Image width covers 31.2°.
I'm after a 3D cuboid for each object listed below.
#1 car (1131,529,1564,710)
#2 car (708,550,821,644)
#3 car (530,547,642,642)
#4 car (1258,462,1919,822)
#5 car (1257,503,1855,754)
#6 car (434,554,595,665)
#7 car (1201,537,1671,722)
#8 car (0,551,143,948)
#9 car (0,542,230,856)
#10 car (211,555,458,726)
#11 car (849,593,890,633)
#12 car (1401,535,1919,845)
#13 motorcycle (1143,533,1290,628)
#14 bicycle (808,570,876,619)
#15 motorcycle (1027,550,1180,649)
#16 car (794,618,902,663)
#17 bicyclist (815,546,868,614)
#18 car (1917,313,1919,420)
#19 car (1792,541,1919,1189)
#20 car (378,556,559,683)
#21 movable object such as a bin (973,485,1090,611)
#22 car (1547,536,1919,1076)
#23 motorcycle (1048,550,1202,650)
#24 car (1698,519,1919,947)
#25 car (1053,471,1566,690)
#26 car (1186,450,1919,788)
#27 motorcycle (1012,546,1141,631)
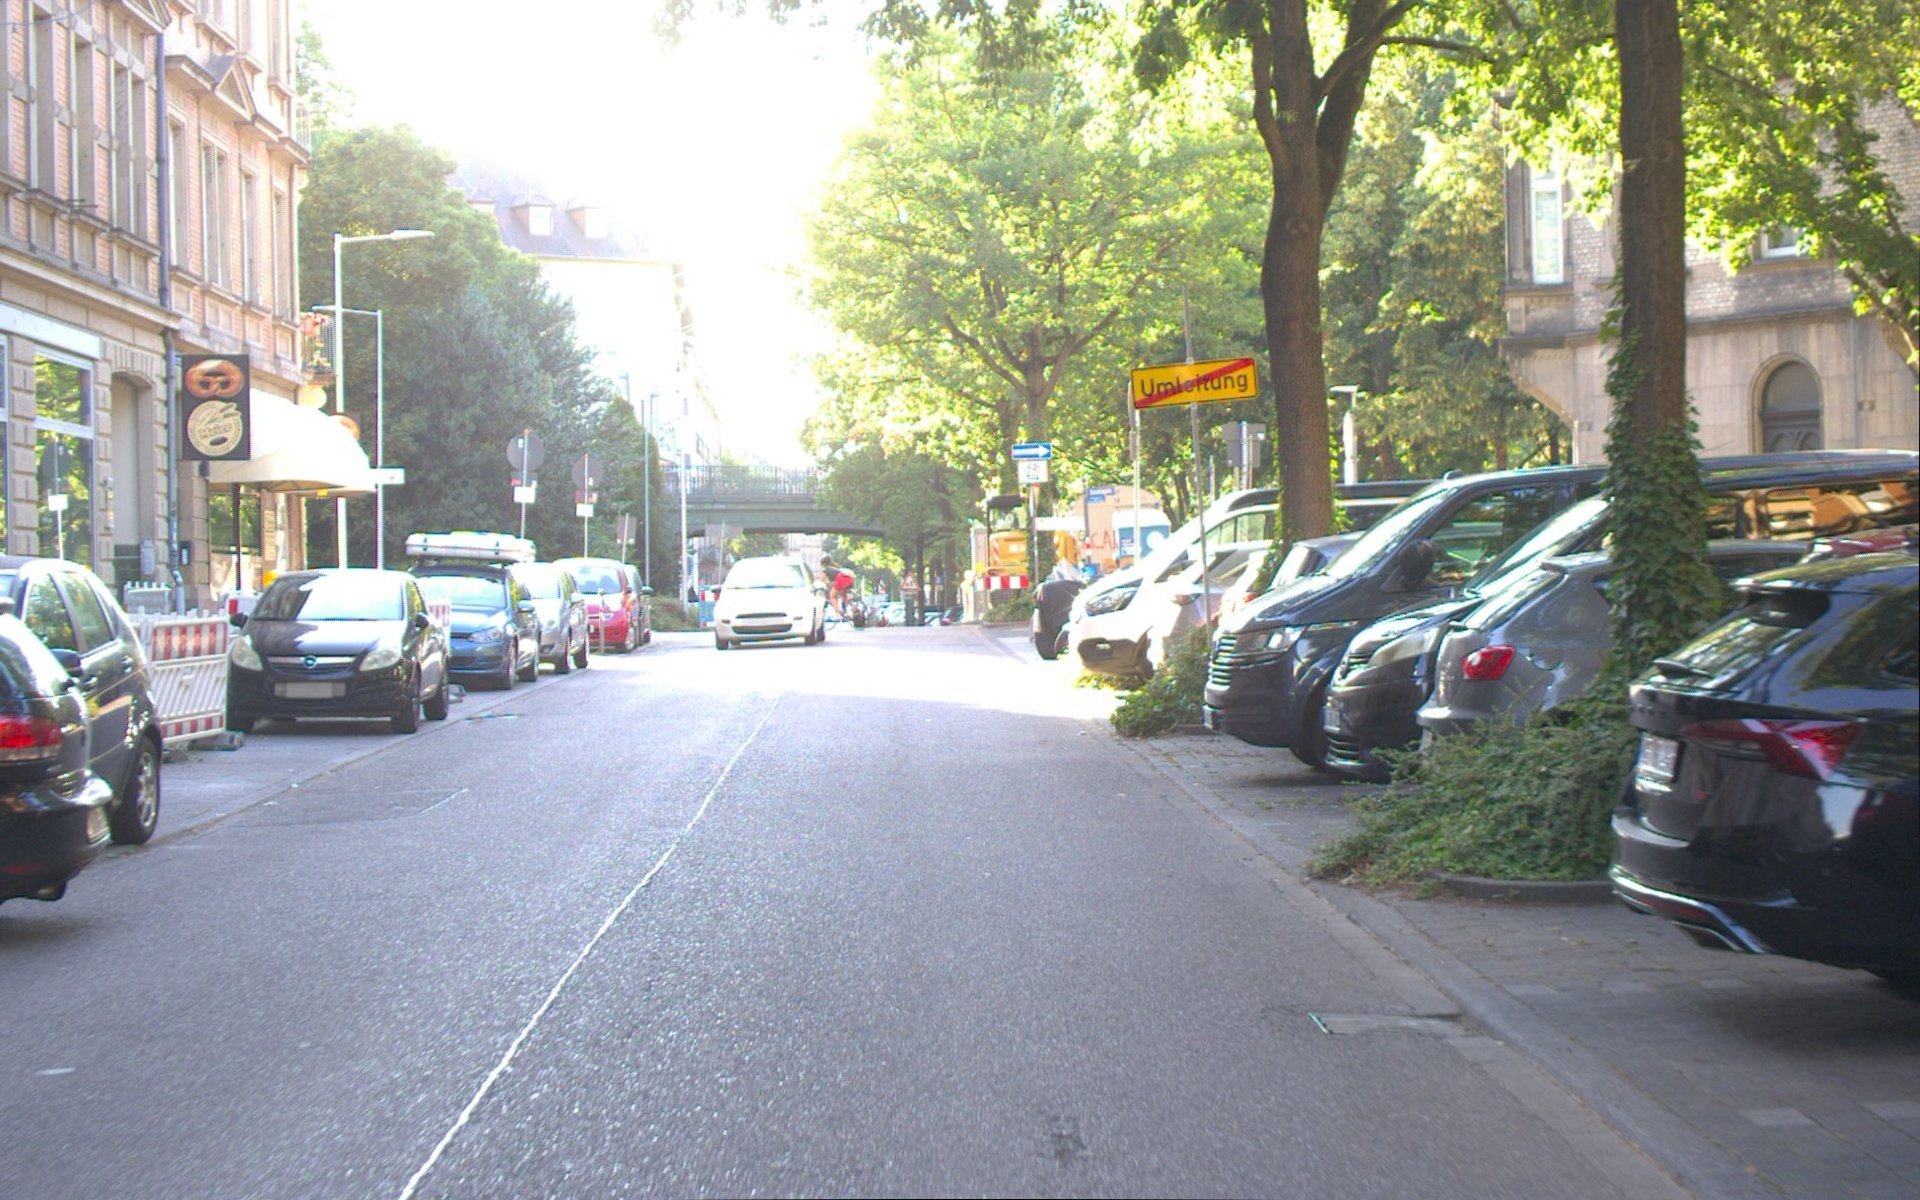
[{"bbox_3d":[3.603,0.163,32.455,3.840,1.590,1.741,-1,1,-1],"label":"car"},{"bbox_3d":[-3.285,-0.072,58.315,1.749,1.504,4.000,-1,1,-1],"label":"car"},{"bbox_3d":[-6.242,-0.104,57.729,1.669,1.525,4.001,-1,1,-4],"label":"car"},{"bbox_3d":[3.993,0.196,19.632,4.267,1.878,1.940,-1,1,-4],"label":"car"},{"bbox_3d":[4.289,0.184,25.136,3.986,1.686,1.800,-1,1,-3],"label":"car"},{"bbox_3d":[-6.092,0.096,47.398,1.725,1.432,3.996,1,1,-1],"label":"car"},{"bbox_3d":[4.134,0.236,30.312,3.840,1.510,1.848,-1,1,-1],"label":"car"},{"bbox_3d":[-5.486,0.615,13.978,3.986,1.524,1.826,-2,1,-7],"label":"car"},{"bbox_3d":[-5.334,0.477,19.093,1.741,1.562,3.895,-1,1,-1],"label":"car"},{"bbox_3d":[-5.749,0.326,32.010,1.703,1.449,4.021,-1,1,-2],"label":"car"},{"bbox_3d":[-4.059,0.571,153.857,1.775,1.604,4.402,-2,1,-1],"label":"car"},{"bbox_3d":[4.321,0.407,17.438,3.987,1.443,1.890,-1,1,4],"label":"car"},{"bbox_3d":[4.220,-0.317,56.622,2.282,1.526,0.756,-1,0,-7],"label":"motorcycle"},{"bbox_3d":[-2.412,-0.115,70.062,0.803,0.965,2.109,0,1,-19],"label":"bicycle"},{"bbox_3d":[2.015,-0.009,48.573,2.023,1.280,0.904,-3,1,-2],"label":"motorcycle"},{"bbox_3d":[-4.621,1.674,141.518,4.387,1.779,1.917,1,-3,-3],"label":"car"},{"bbox_3d":[-2.415,-0.413,70.092,0.803,1.378,0.985,0,1,-21],"label":"bicyclist"},{"bbox_3d":[4.272,0.365,5.000,5.091,1.933,2.158,-1,-3,-1],"label":"car"},{"bbox_3d":[4.174,0.527,7.860,3.986,1.469,1.782,-3,1,-8],"label":"car"},{"bbox_3d":[-5.973,0.201,42.182,1.764,1.432,4.301,-1,1,-3],"label":"car"},{"bbox_3d":[1.589,-1.132,75.456,1.994,2.690,3.109,-1,0,12],"label":"movable object such as a bin"},{"bbox_3d":[4.146,0.505,10.388,4.369,1.450,1.934,-1,1,0],"label":"car"},{"bbox_3d":[2.232,-0.006,46.668,2.014,1.322,0.621,-1,1,-5],"label":"motorcycle"},{"bbox_3d":[5.054,0.406,13.024,4.081,1.492,1.843,-1,1,0],"label":"car"},{"bbox_3d":[3.501,-0.212,35.201,4.973,2.089,2.106,-1,1,-1],"label":"car"},{"bbox_3d":[3.912,0.093,22.382,4.614,2.007,2.000,-1,1,-3],"label":"car"},{"bbox_3d":[1.938,-0.191,57.222,1.935,1.408,0.939,0,1,27],"label":"motorcycle"}]
